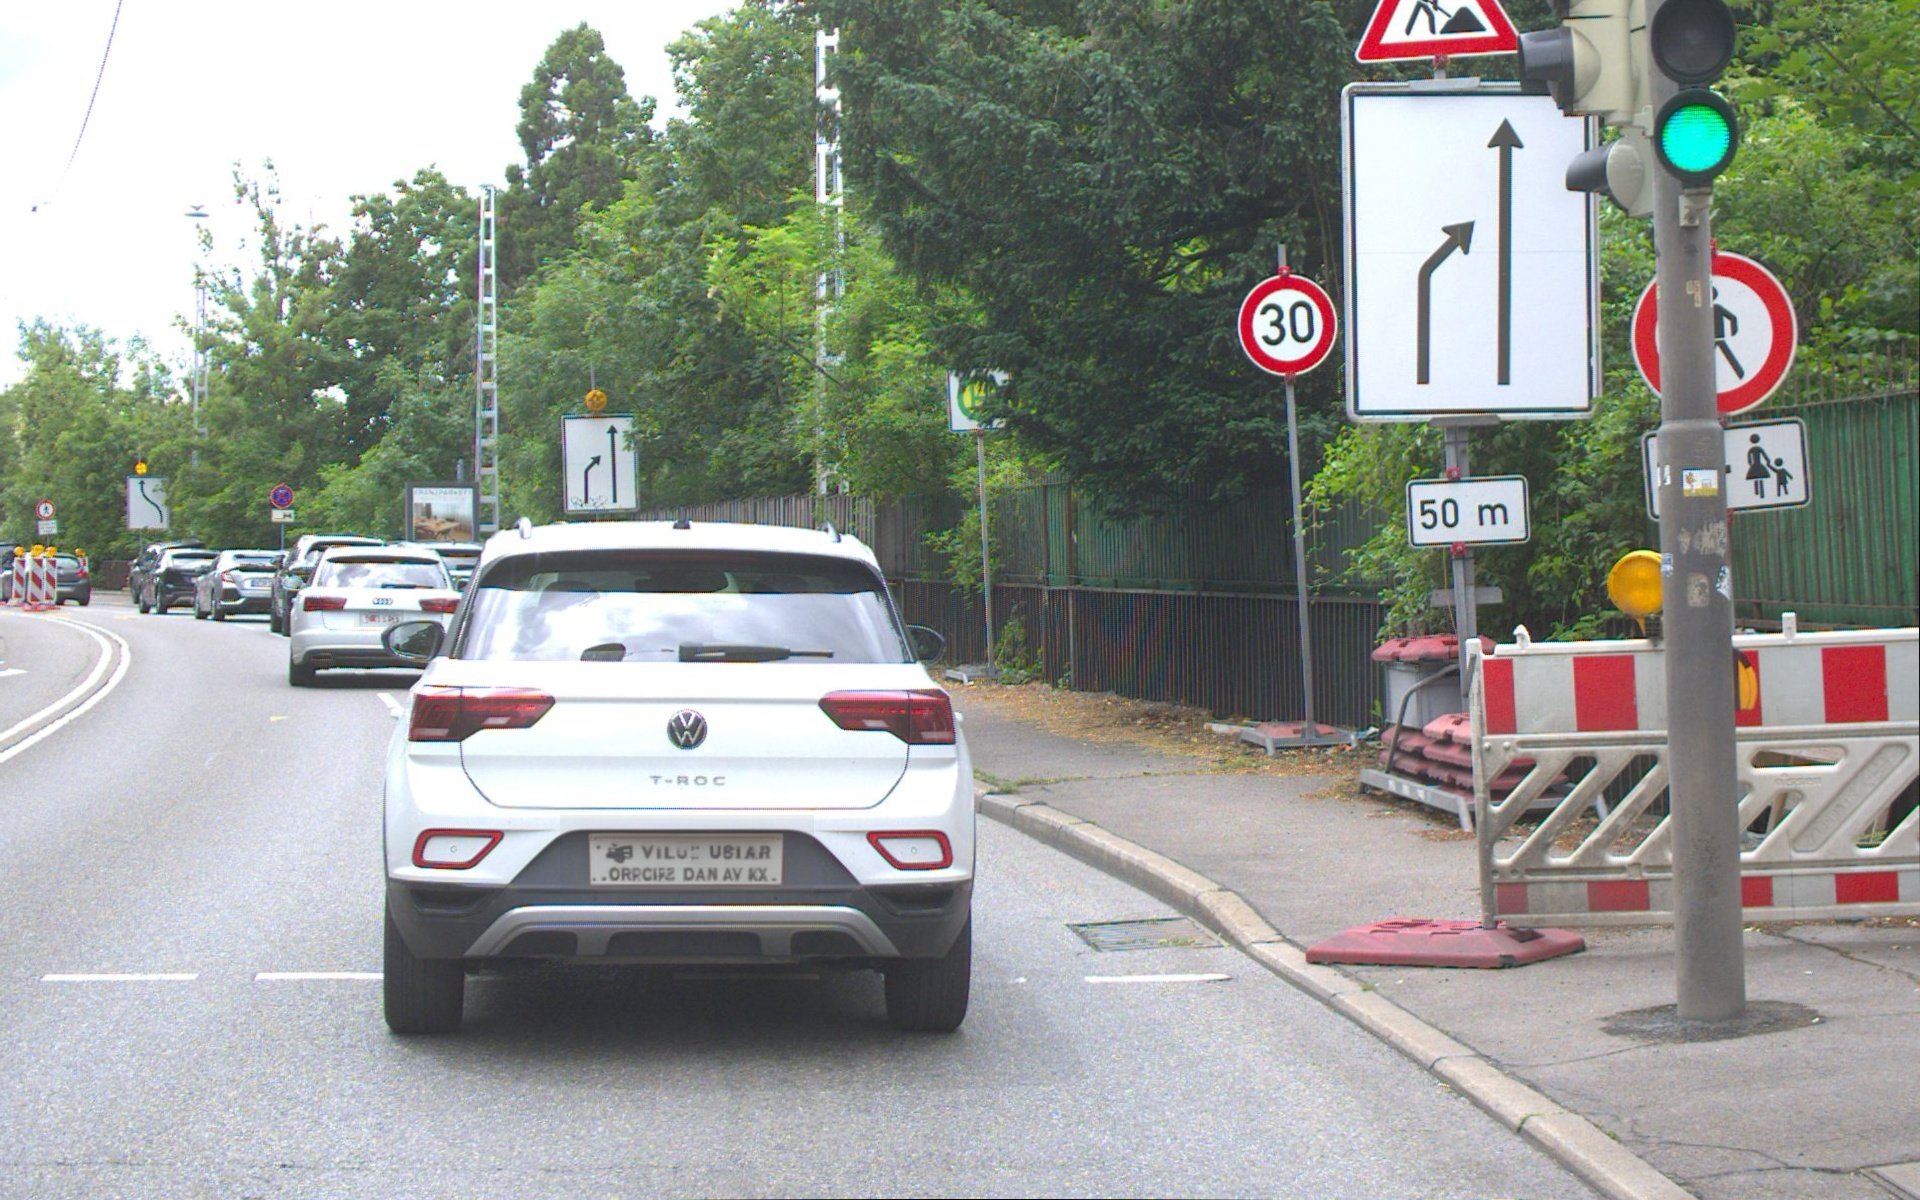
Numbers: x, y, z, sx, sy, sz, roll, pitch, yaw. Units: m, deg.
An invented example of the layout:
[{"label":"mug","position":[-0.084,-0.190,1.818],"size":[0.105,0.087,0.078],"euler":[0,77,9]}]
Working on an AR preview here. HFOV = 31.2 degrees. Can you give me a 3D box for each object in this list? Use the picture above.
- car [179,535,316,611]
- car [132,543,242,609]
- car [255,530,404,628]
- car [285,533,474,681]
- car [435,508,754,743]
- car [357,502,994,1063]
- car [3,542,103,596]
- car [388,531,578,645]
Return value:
[{"label":"car","position":[-14.162,-0.516,68.186],"size":[1.993,1.445,4.151],"euler":[-1,0,-21]},{"label":"car","position":[-17.483,-0.521,77.651],"size":[1.993,1.445,4.151],"euler":[-1,0,-19]},{"label":"car","position":[-10.390,-0.366,56.461],"size":[1.993,1.551,4.152],"euler":[0,1,-16]},{"label":"car","position":[-6.188,0.063,36.362],"size":[1.757,1.466,3.796],"euler":[1,0,-13]},{"label":"car","position":[-2.790,0.171,25.535],"size":[1.757,1.604,3.796],"euler":[1,0,-15]},{"label":"car","position":[-0.906,0.509,11.531],"size":[1.757,1.550,3.796],"euler":[1,0,-3]},{"label":"car","position":[-24.916,-0.834,94.386],"size":[1.780,1.449,4.000],"euler":[0,0,-28]},{"label":"car","position":[-6.354,-0.143,45.451],"size":[1.993,1.409,4.151],"euler":[-1,0,-14]}]
